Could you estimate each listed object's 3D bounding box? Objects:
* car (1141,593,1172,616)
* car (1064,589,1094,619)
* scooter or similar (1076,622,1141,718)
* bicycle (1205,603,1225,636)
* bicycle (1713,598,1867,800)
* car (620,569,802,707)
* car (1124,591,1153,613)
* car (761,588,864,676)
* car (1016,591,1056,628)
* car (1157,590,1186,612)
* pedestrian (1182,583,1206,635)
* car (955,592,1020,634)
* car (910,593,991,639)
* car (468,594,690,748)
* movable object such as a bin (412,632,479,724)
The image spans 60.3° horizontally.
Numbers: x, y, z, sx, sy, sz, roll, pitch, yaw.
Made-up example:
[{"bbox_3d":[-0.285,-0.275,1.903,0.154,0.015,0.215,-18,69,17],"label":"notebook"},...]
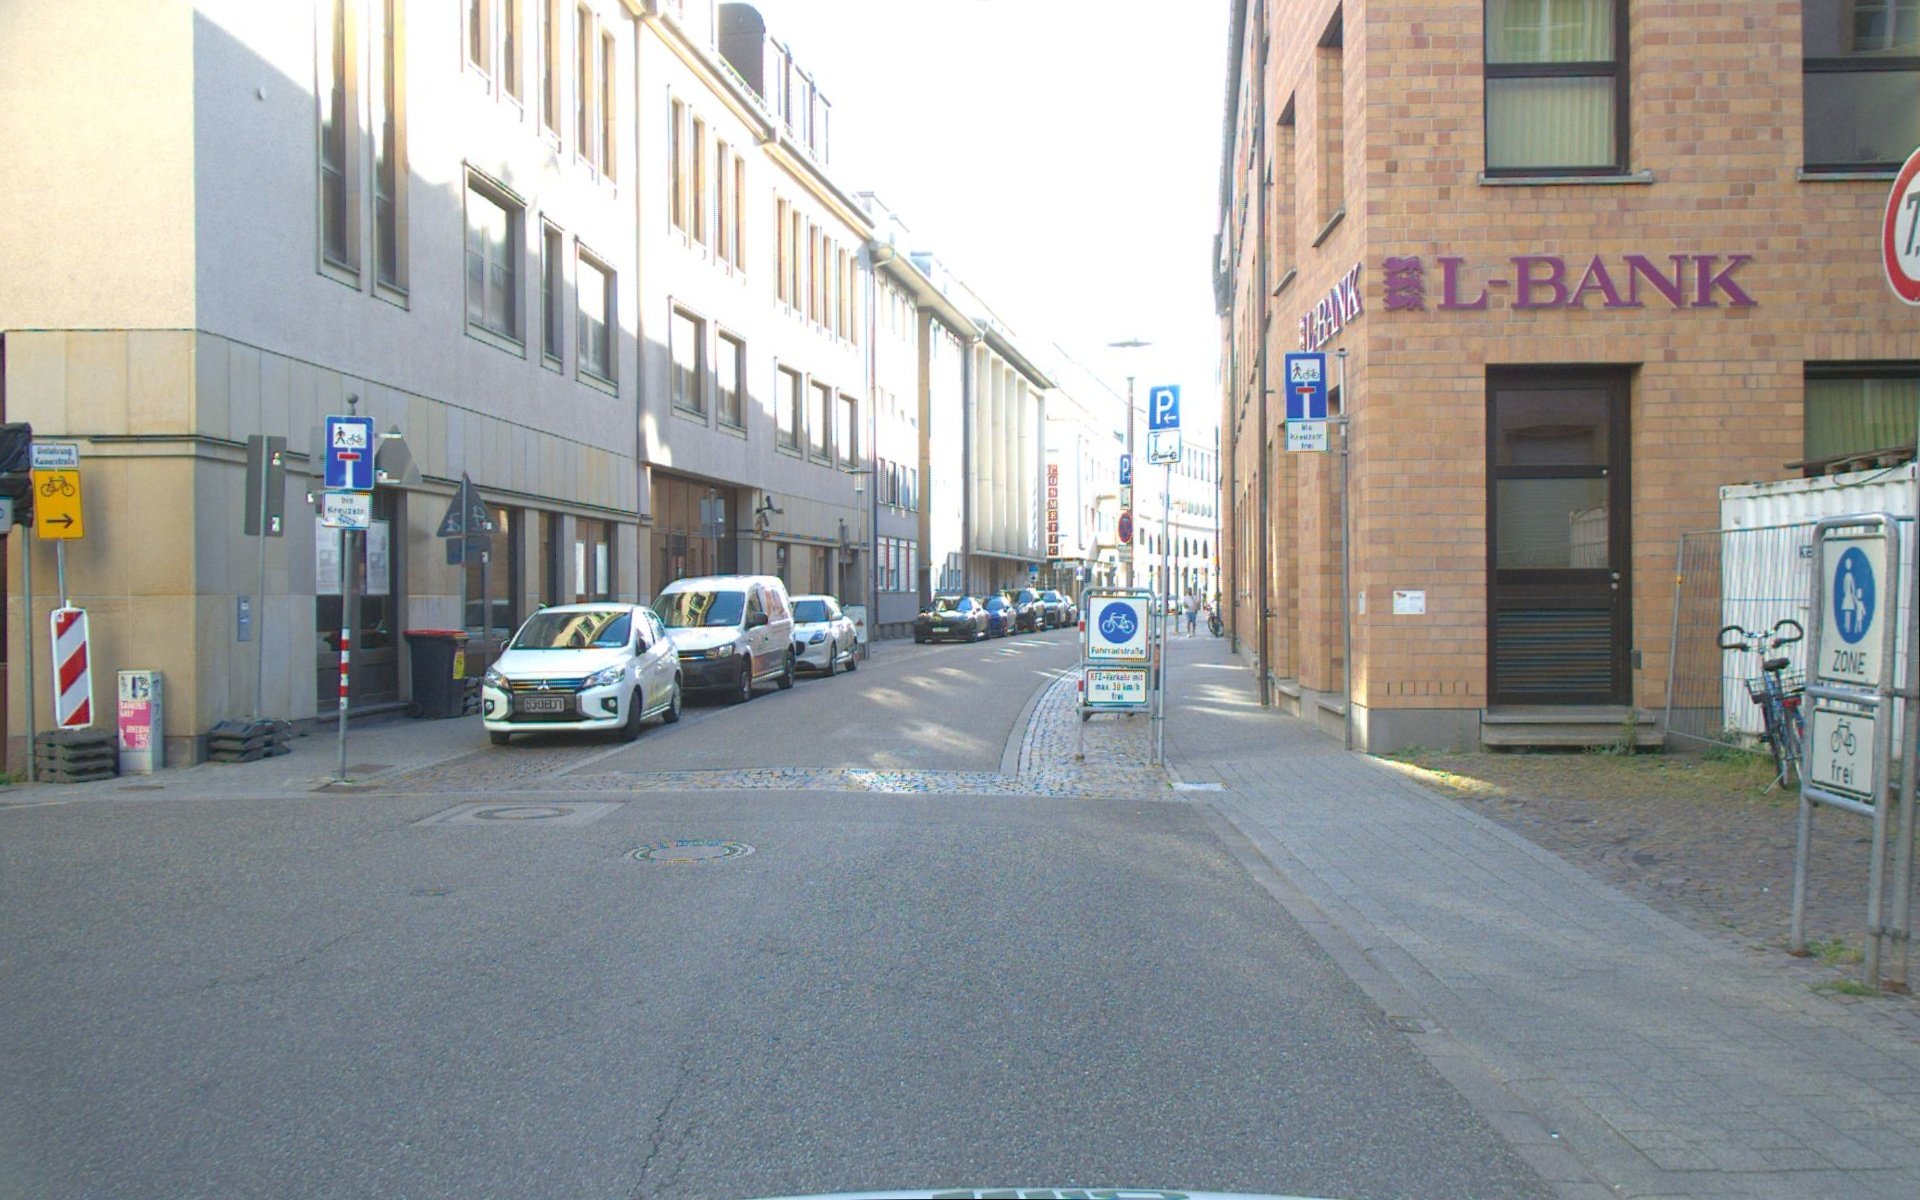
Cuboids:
[{"bbox_3d":[12.352,0.273,103.863,1.653,1.394,3.621,-1,0,11],"label":"car"},{"bbox_3d":[6.402,0.198,88.813,1.310,1.520,3.350,-1,0,9],"label":"car"},{"bbox_3d":[1.845,0.865,20.539,0.754,1.156,0.269,2,-1,2],"label":"scooter or similar"},{"bbox_3d":[8.089,0.596,52.578,0.500,1.011,2.650,0,0,6],"label":"bicycle"},{"bbox_3d":[5.951,0.667,11.941,0.538,1.340,1.648,-1,0,10],"label":"bicycle"},{"bbox_3d":[-3.652,0.511,25.059,1.635,1.850,4.555,-2,0,5],"label":"car"},{"bbox_3d":[12.270,0.129,113.781,1.653,1.394,3.621,-1,0,11],"label":"car"},{"bbox_3d":[-2.744,0.560,31.252,1.244,1.533,3.404,-2,0,6],"label":"car"},{"bbox_3d":[3.293,0.385,71.122,1.310,1.520,3.513,-1,0,9],"label":"car"},{"bbox_3d":[14.150,0.032,110.608,1.653,1.394,3.621,-1,0,11],"label":"car"},{"bbox_3d":[8.114,0.317,57.395,0.651,1.761,0.840,2,0,-1],"label":"pedestrian"},{"bbox_3d":[1.014,0.431,58.088,1.687,1.364,4.004,-1,0,9],"label":"car"},{"bbox_3d":[-0.247,0.482,51.777,1.841,1.355,4.104,-1,0,9],"label":"car"},{"bbox_3d":[-4.290,0.736,19.188,1.636,1.533,3.794,-2,0,0],"label":"car"},{"bbox_3d":[-6.310,0.954,20.320,0.596,1.079,0.713,2,0,-3],"label":"movable object such as a bin"}]
